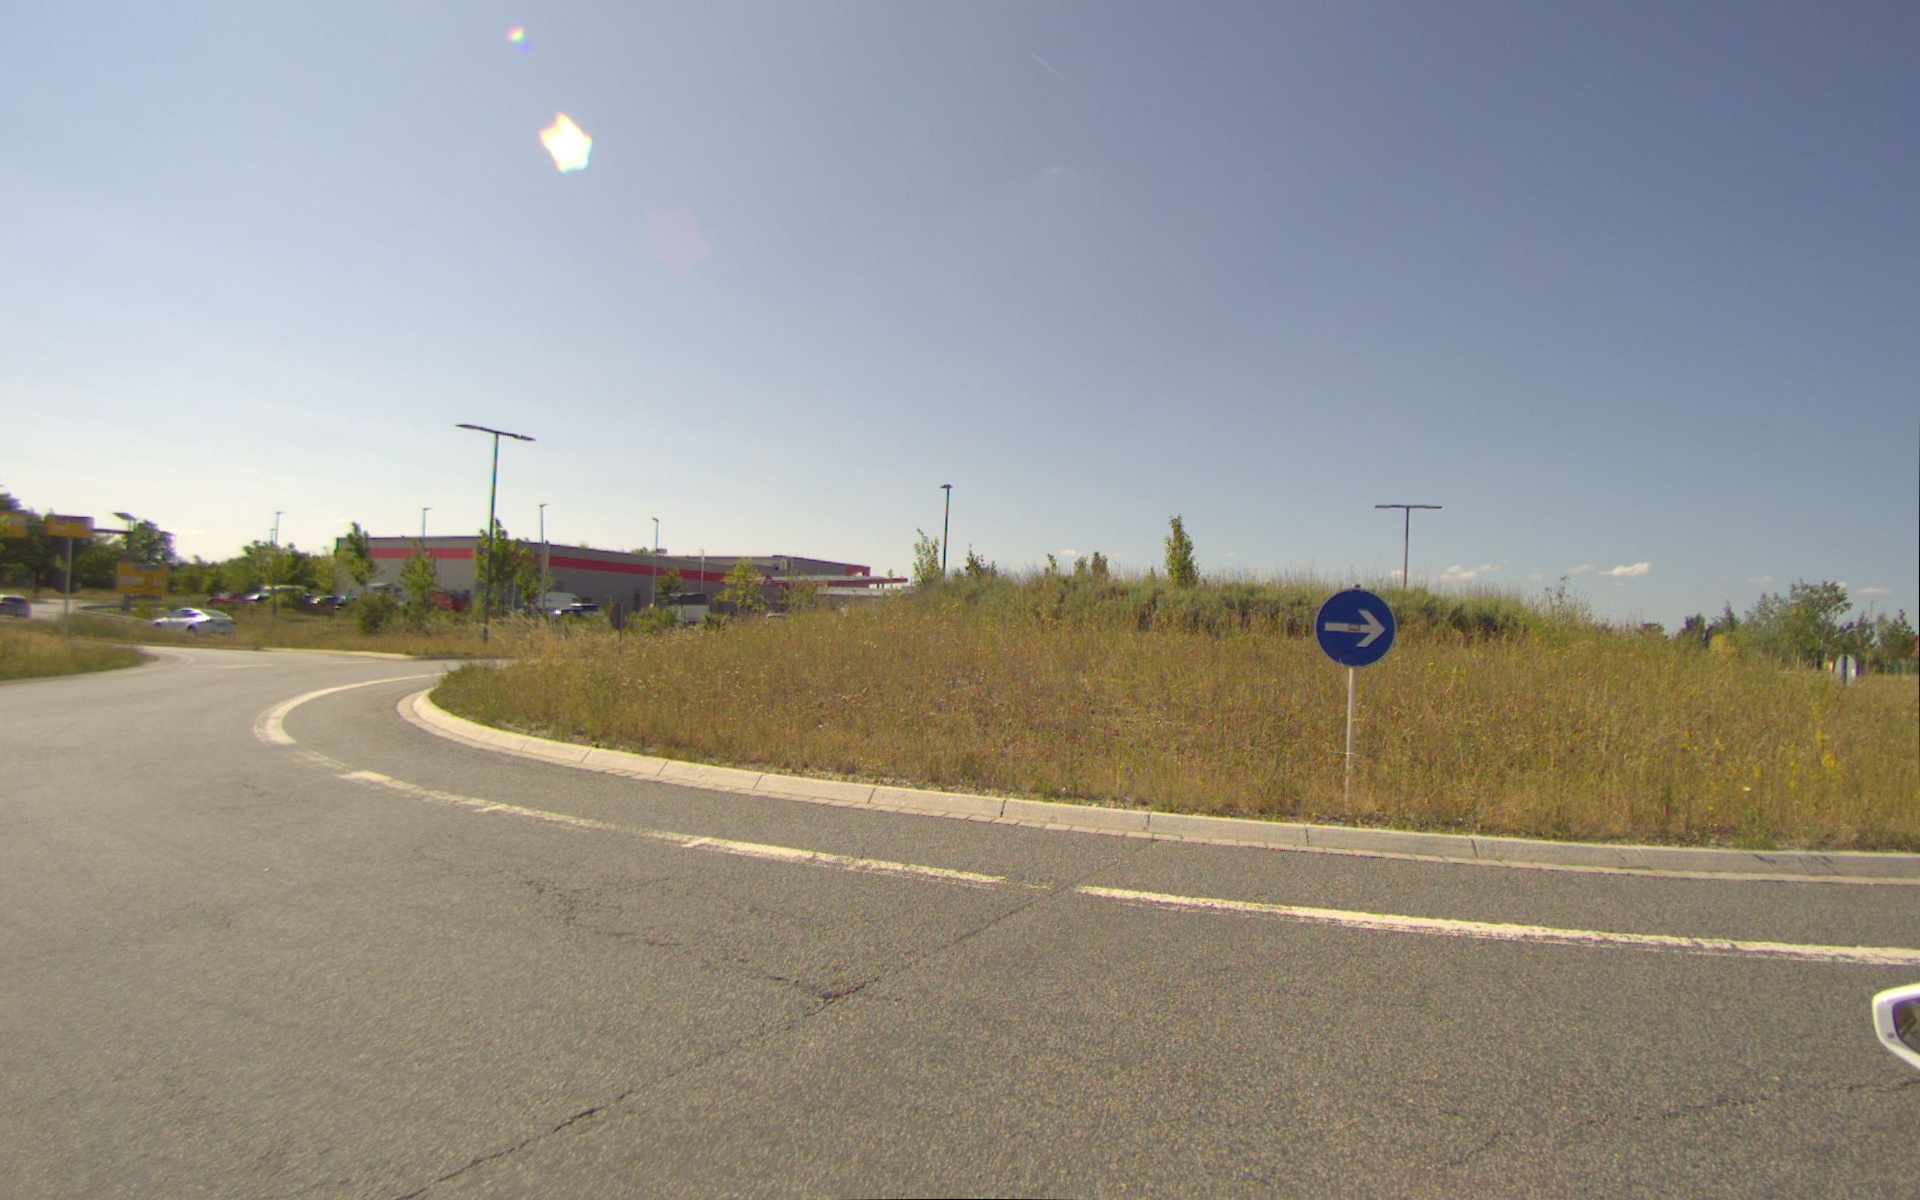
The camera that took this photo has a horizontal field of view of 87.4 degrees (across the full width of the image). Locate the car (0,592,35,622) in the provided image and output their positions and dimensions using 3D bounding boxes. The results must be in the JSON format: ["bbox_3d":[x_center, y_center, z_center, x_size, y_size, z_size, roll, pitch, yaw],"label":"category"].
[{"bbox_3d":[-61.256,0.420,64.104,3.693,1.795,1.693,2,-1,19],"label":"car"}]

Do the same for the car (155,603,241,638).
[{"bbox_3d":[-39.138,1.051,51.591,4.196,1.594,1.726,2,-1,25],"label":"car"}]

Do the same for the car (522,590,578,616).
[{"bbox_3d":[-34.759,0.252,85.328,1.964,2.040,3.994,2,-1,29],"label":"car"}]
